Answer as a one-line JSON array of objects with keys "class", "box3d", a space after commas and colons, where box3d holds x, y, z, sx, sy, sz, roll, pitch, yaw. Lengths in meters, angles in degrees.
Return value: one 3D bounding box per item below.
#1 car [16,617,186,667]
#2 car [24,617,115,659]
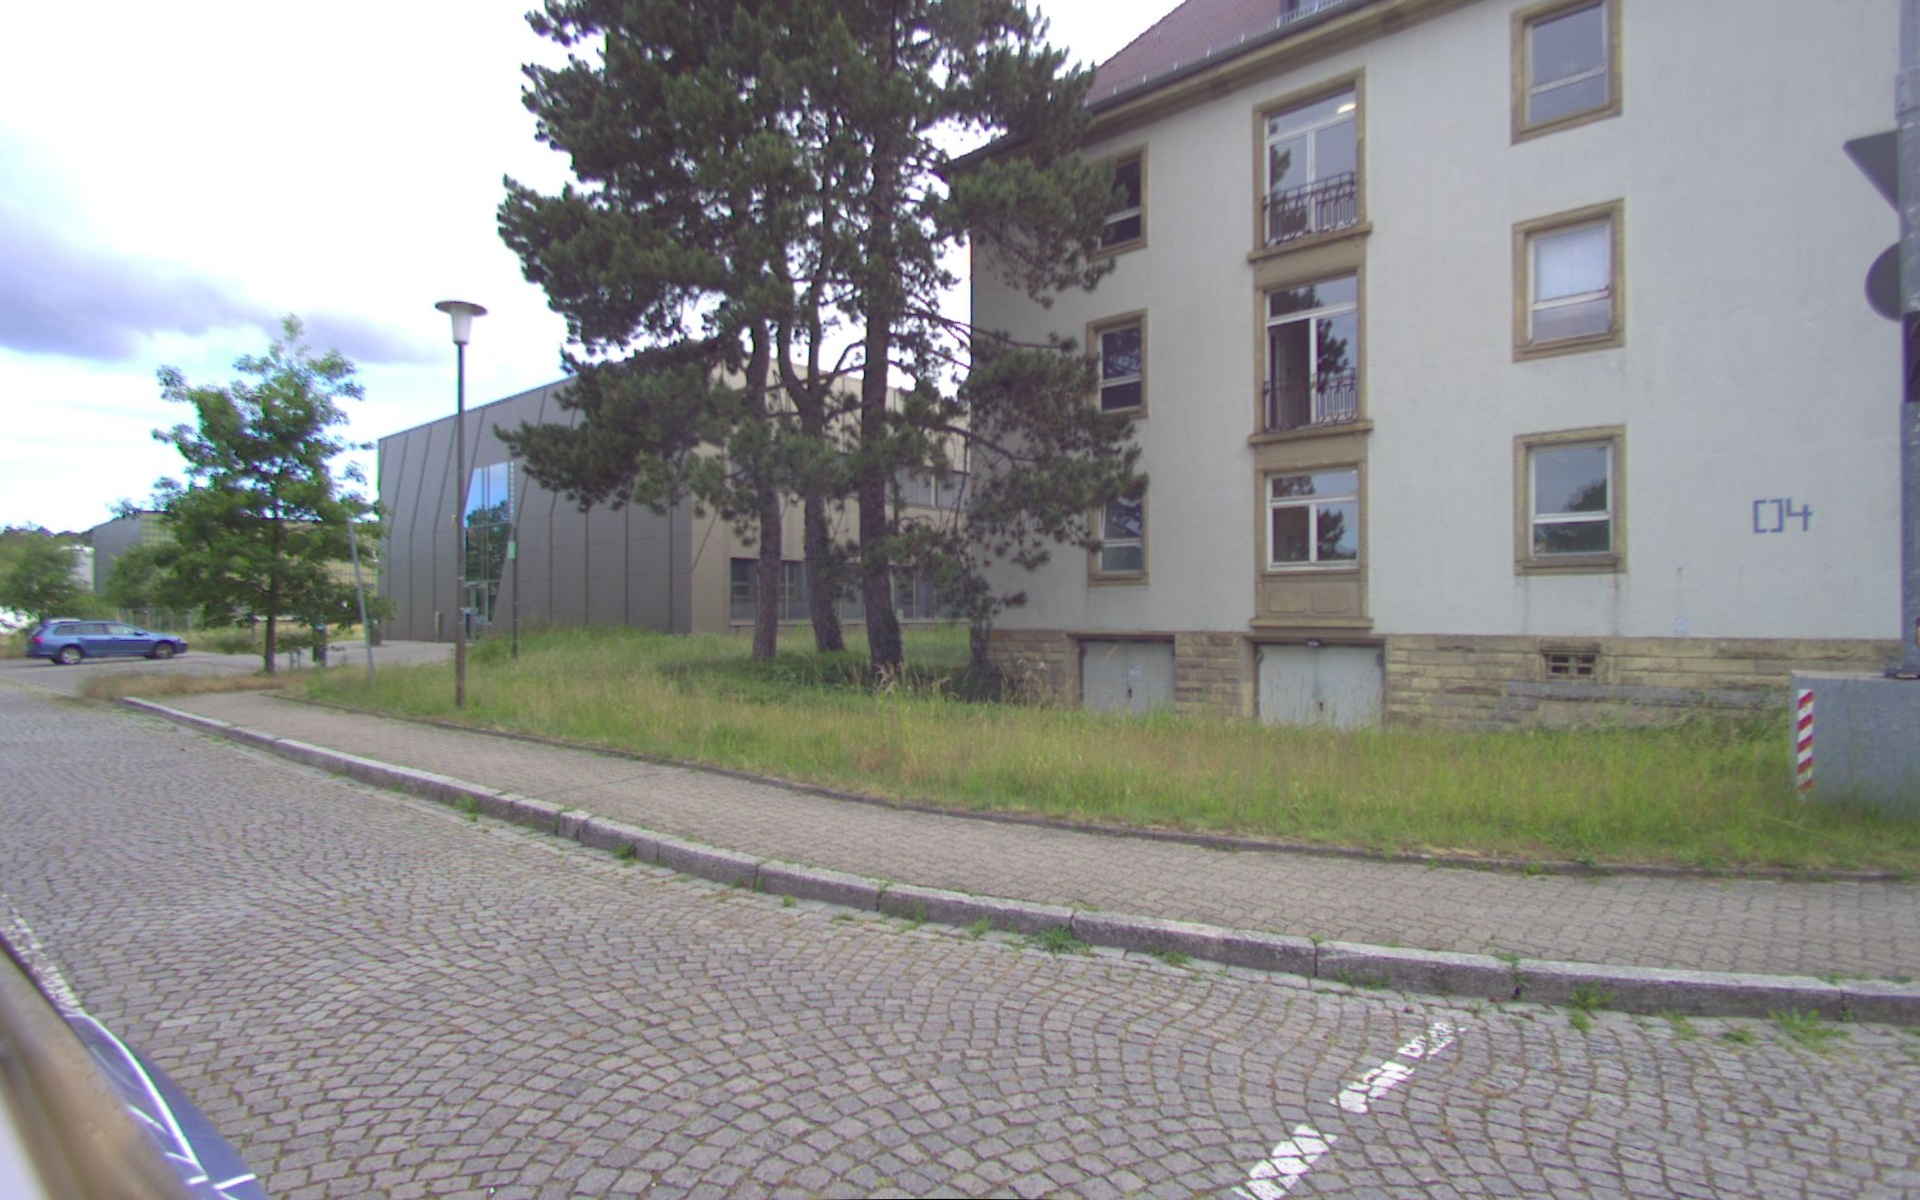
[{"class": "car", "box3d": [-30.396, 1.438, 35.934, 1.632, 1.480, 4.372, -1, 1, 39]}, {"class": "car", "box3d": [-35.903, 1.507, 40.827, 1.499, 1.541, 2.552, -1, 1, 39]}]
